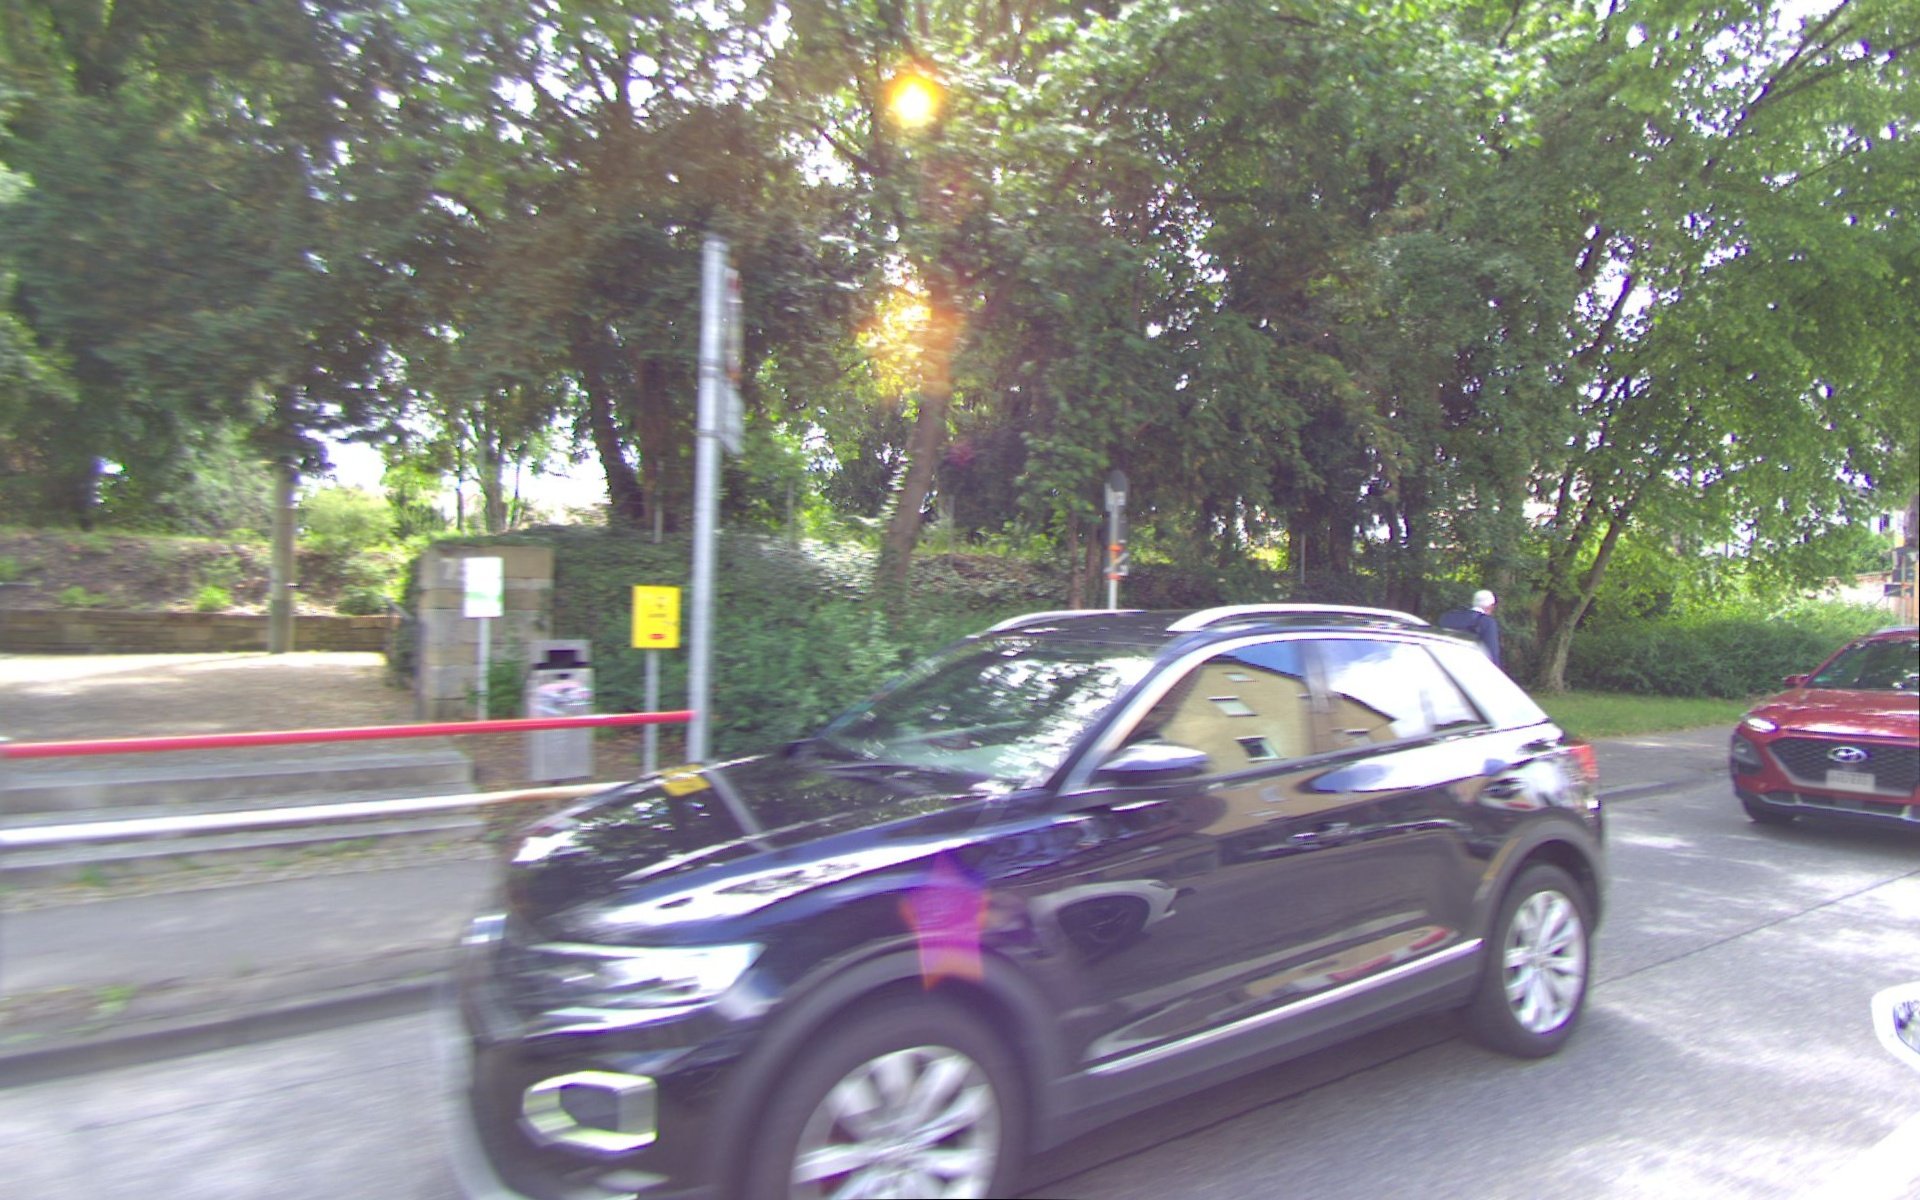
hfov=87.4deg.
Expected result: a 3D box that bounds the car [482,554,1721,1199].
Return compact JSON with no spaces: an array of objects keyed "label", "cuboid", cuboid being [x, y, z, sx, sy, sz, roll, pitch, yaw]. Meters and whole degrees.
[{"label":"car","cuboid":[0.689,0.762,3.599,4.213,1.562,1.781,1,-2,-30]}]

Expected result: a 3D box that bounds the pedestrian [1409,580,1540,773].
[{"label":"pedestrian","cuboid":[5.084,0.722,9.918,1.112,1.785,0.708,2,-1,-37]}]

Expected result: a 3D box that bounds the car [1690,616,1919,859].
[{"label":"car","cuboid":[7.701,0.925,7.801,4.046,1.553,1.754,1,-2,-29]}]
